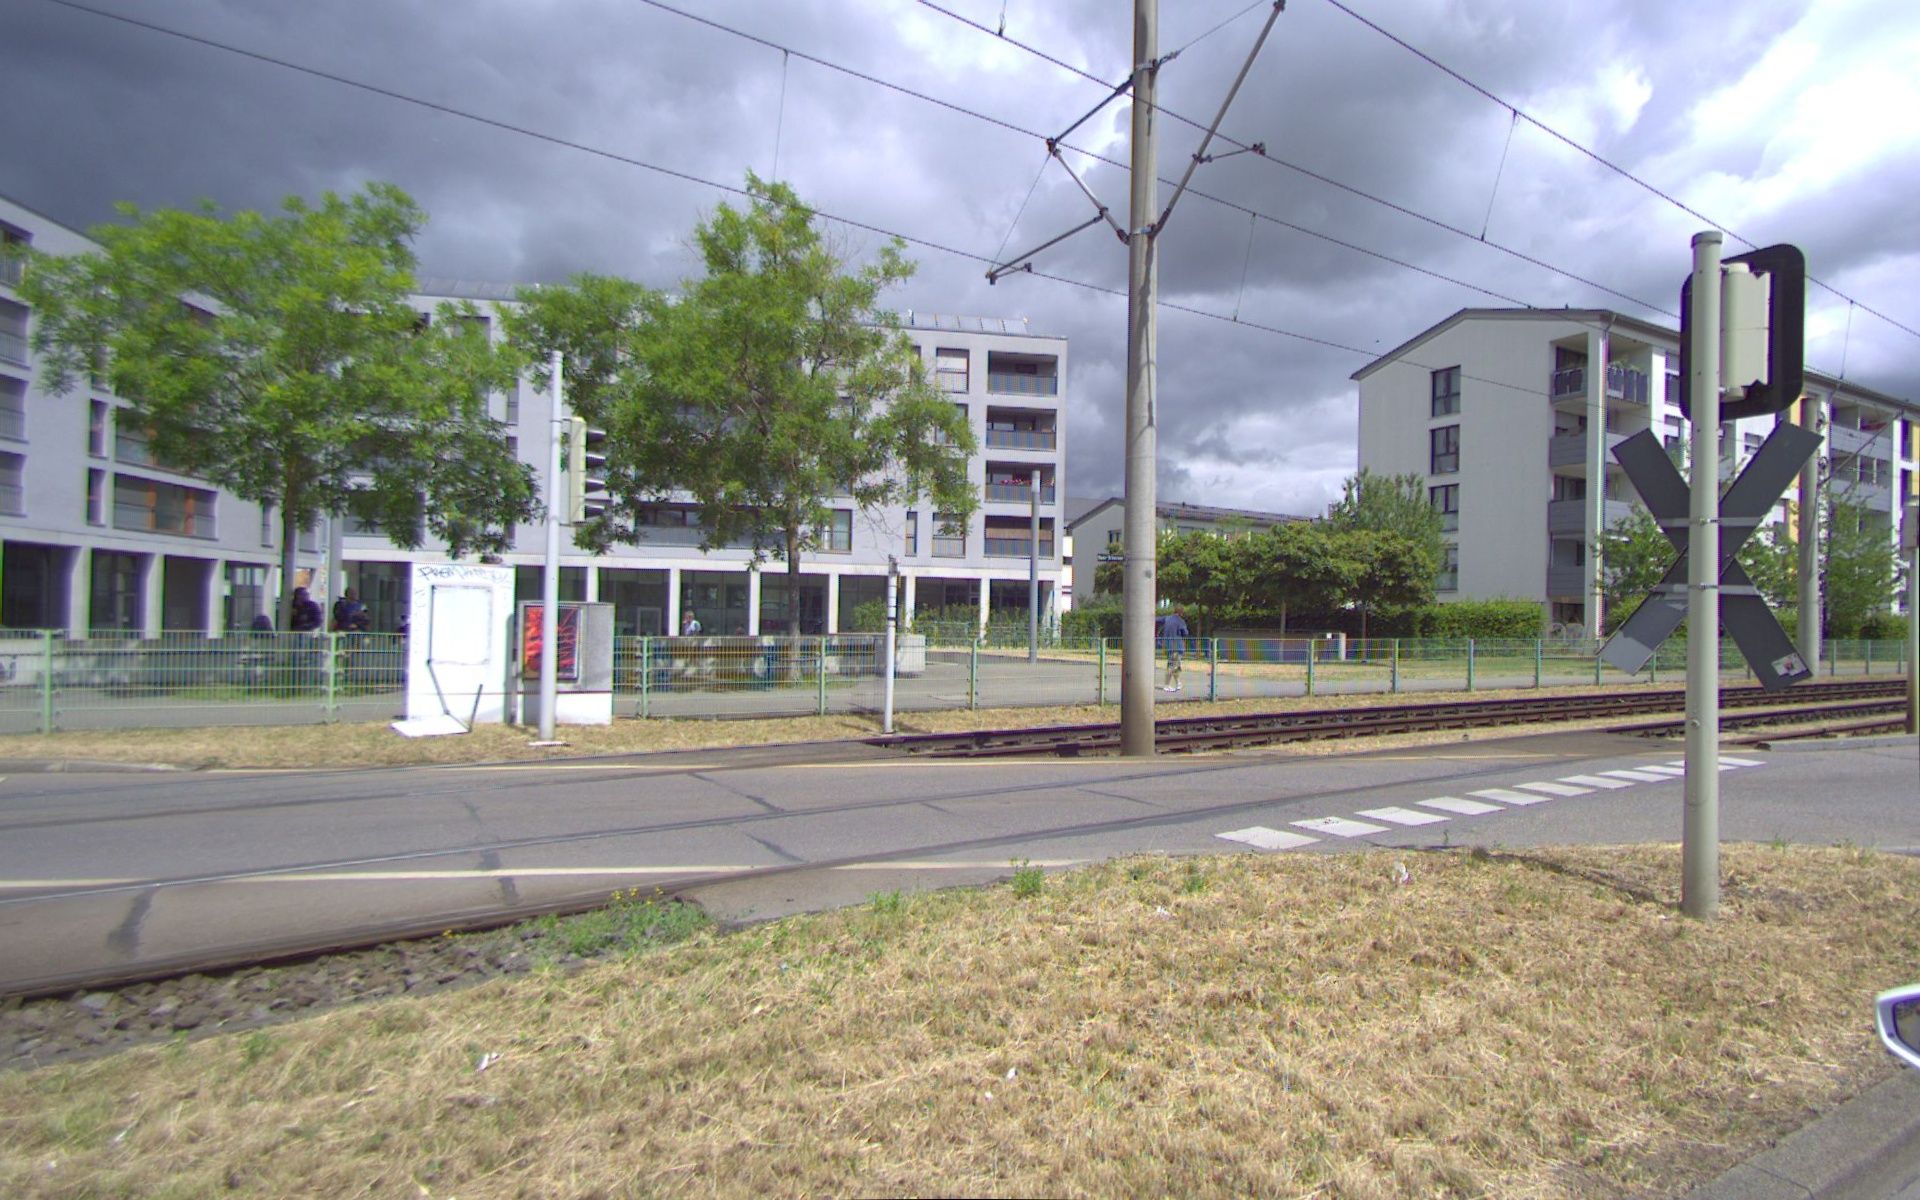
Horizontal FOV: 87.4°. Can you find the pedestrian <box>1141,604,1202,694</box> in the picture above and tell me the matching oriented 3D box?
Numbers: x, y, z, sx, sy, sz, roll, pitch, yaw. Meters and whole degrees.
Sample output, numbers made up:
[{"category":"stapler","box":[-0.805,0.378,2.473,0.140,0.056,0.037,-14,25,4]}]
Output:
[{"category":"pedestrian","box":[4.105,0.933,19.480,0.858,1.683,0.747,0,-2,-27]}]

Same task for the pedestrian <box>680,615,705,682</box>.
[{"category":"pedestrian","box":[-6.318,1.136,23.723,0.519,1.568,0.545,-1,-1,-10]}]

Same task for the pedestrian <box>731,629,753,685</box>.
[{"category":"pedestrian","box":[-4.996,1.295,23.007,0.449,1.263,0.545,-1,-1,-10]}]

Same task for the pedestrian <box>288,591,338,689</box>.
[{"category":"pedestrian","box":[-10.730,0.660,16.674,0.549,1.594,0.622,0,-1,-19]}]

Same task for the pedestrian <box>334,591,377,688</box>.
[{"category":"pedestrian","box":[-10.179,0.659,16.930,0.550,1.594,0.621,0,-1,-25]}]
